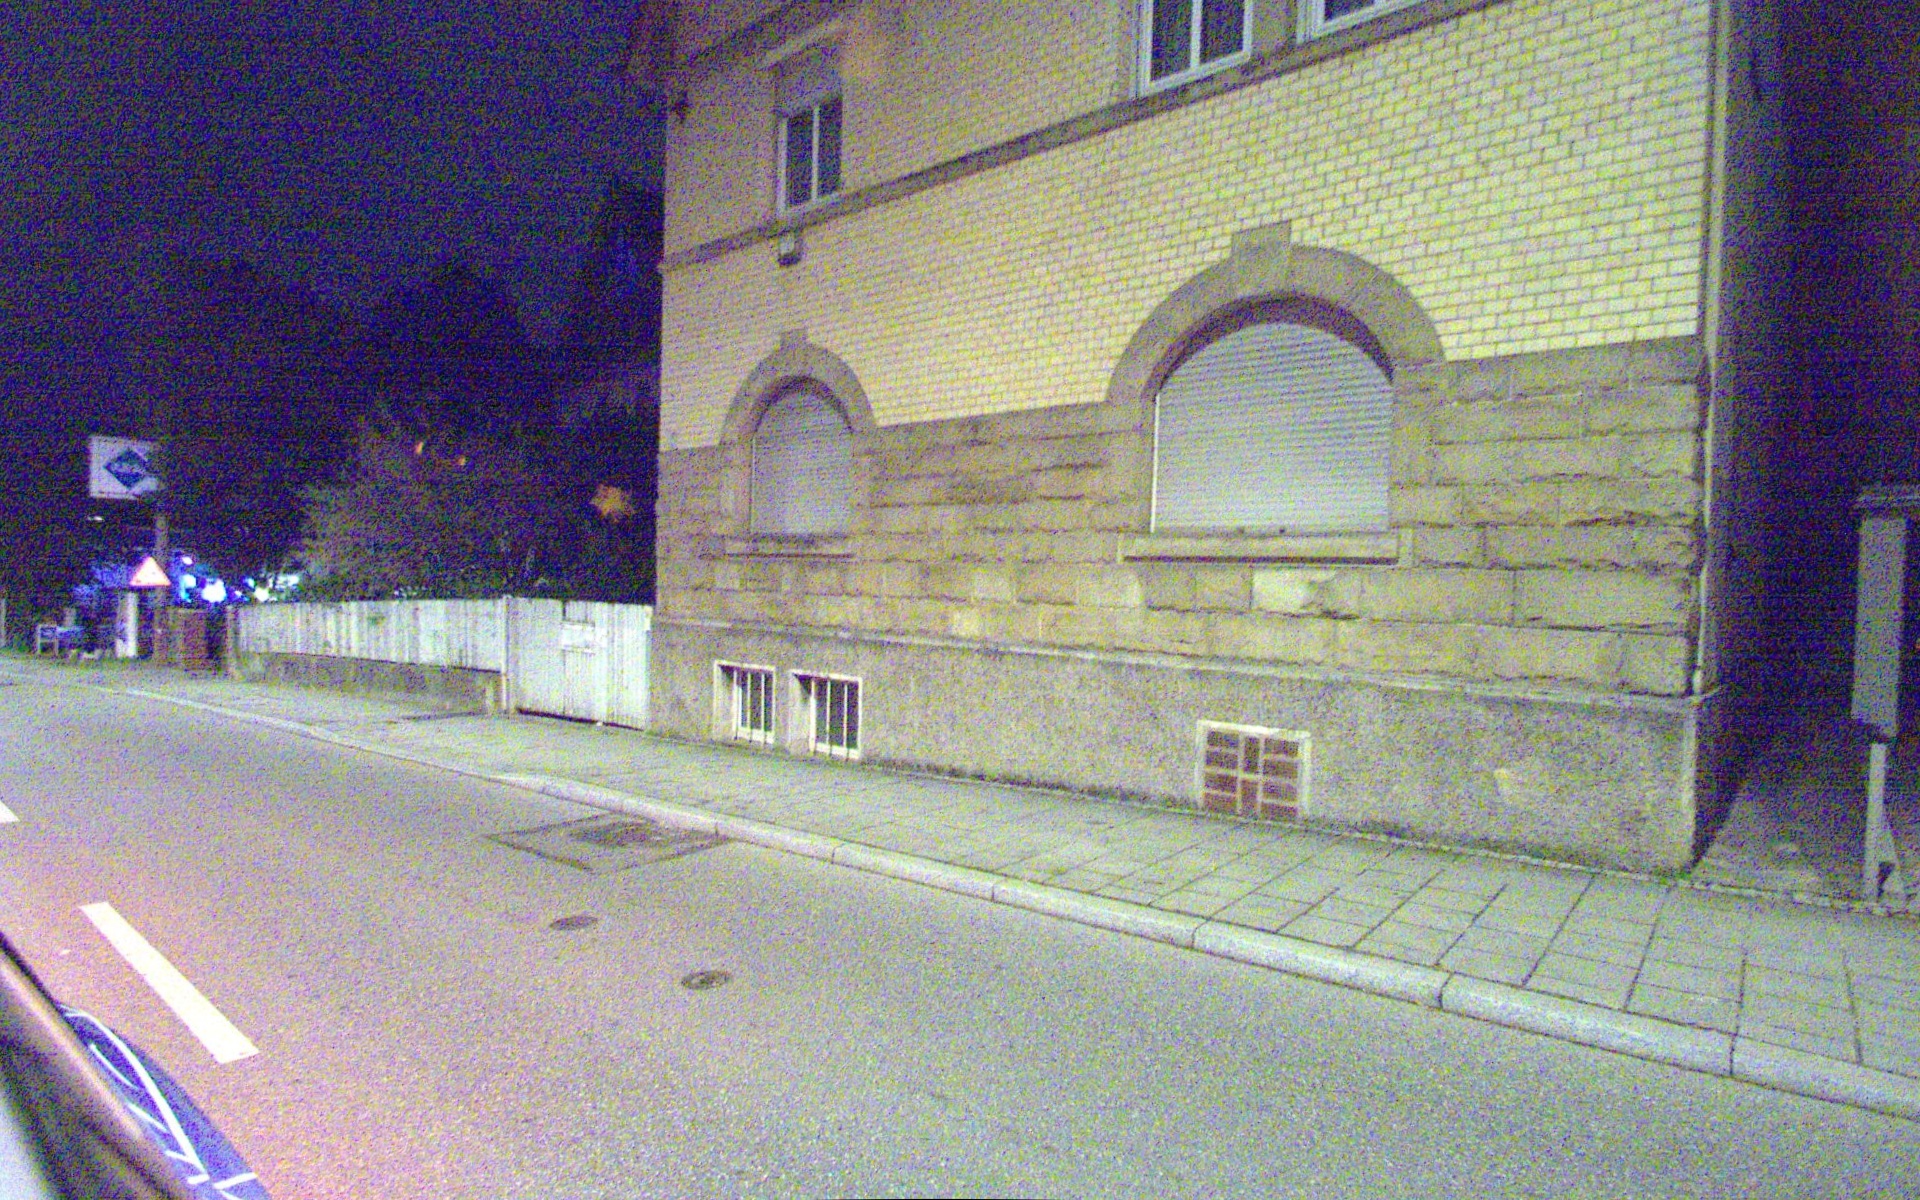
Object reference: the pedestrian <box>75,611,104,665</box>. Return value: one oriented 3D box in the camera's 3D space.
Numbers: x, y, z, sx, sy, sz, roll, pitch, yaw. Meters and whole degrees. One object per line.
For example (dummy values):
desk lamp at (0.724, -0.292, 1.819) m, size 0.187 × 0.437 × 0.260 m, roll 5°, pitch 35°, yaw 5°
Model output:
pedestrian at (-28.954, 1.256, 33.675) m, size 0.500 × 1.773 × 0.664 m, roll -1°, pitch 0°, yaw 41°
